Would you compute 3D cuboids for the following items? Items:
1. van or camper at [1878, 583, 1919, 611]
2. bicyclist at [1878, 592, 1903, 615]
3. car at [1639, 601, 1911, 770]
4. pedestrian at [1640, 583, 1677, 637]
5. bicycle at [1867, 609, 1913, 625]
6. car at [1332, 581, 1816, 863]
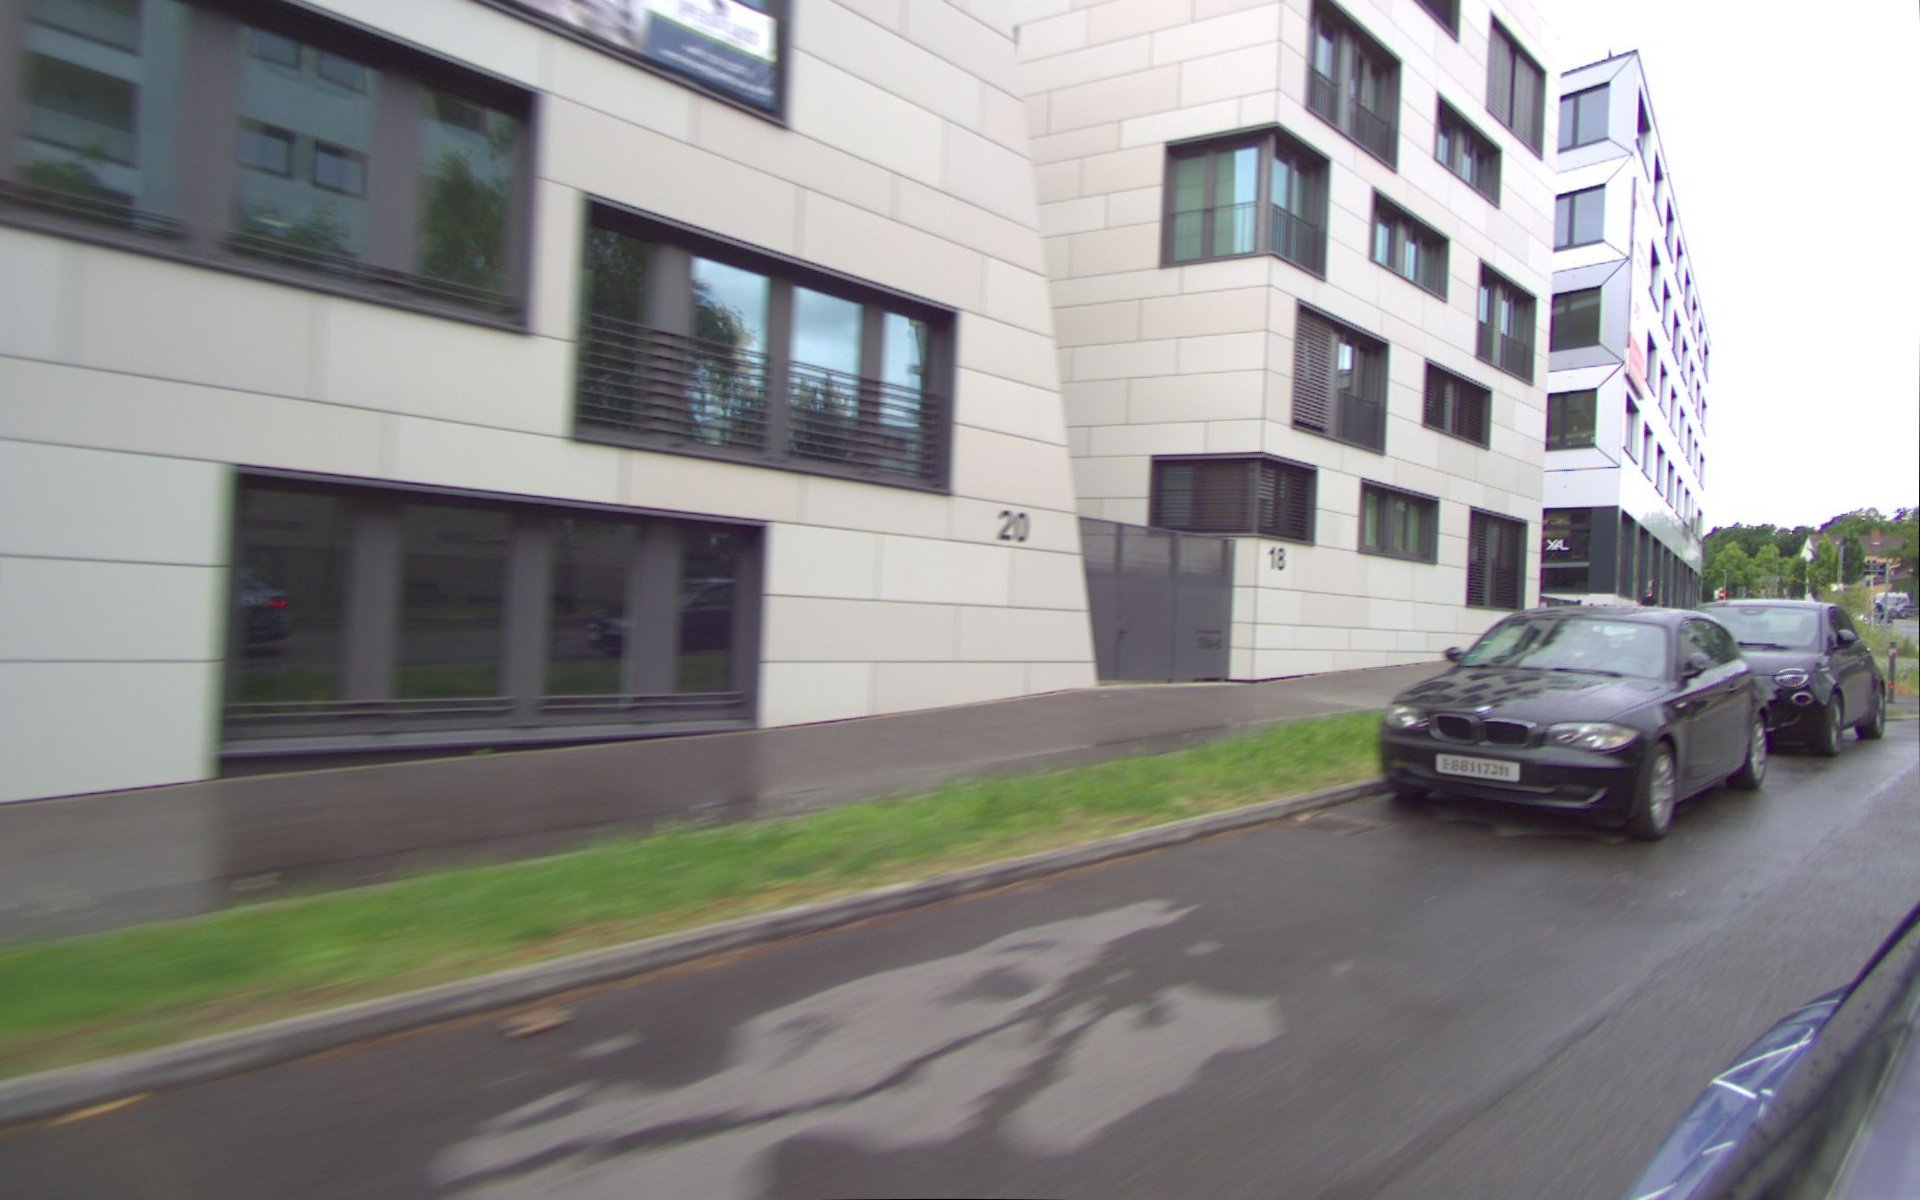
[{"bbox_3d":[95.877,-0.365,103.038,2.328,2.799,6.077,0,1,30],"label":"van or camper"},{"bbox_3d":[62.759,0.222,68.273,0.790,1.541,1.198,-1,1,-45],"label":"bicyclist"},{"bbox_3d":[8.840,0.779,10.887,3.594,1.497,1.550,0,0,-39],"label":"car"},{"bbox_3d":[24.178,0.333,35.027,0.823,1.818,1.189,2,2,44],"label":"pedestrian"},{"bbox_3d":[62.745,1.169,68.306,0.791,0.991,2.249,-1,2,-44],"label":"bicycle"},{"bbox_3d":[4.795,0.621,7.626,4.416,1.503,1.811,-1,2,-40],"label":"car"}]
